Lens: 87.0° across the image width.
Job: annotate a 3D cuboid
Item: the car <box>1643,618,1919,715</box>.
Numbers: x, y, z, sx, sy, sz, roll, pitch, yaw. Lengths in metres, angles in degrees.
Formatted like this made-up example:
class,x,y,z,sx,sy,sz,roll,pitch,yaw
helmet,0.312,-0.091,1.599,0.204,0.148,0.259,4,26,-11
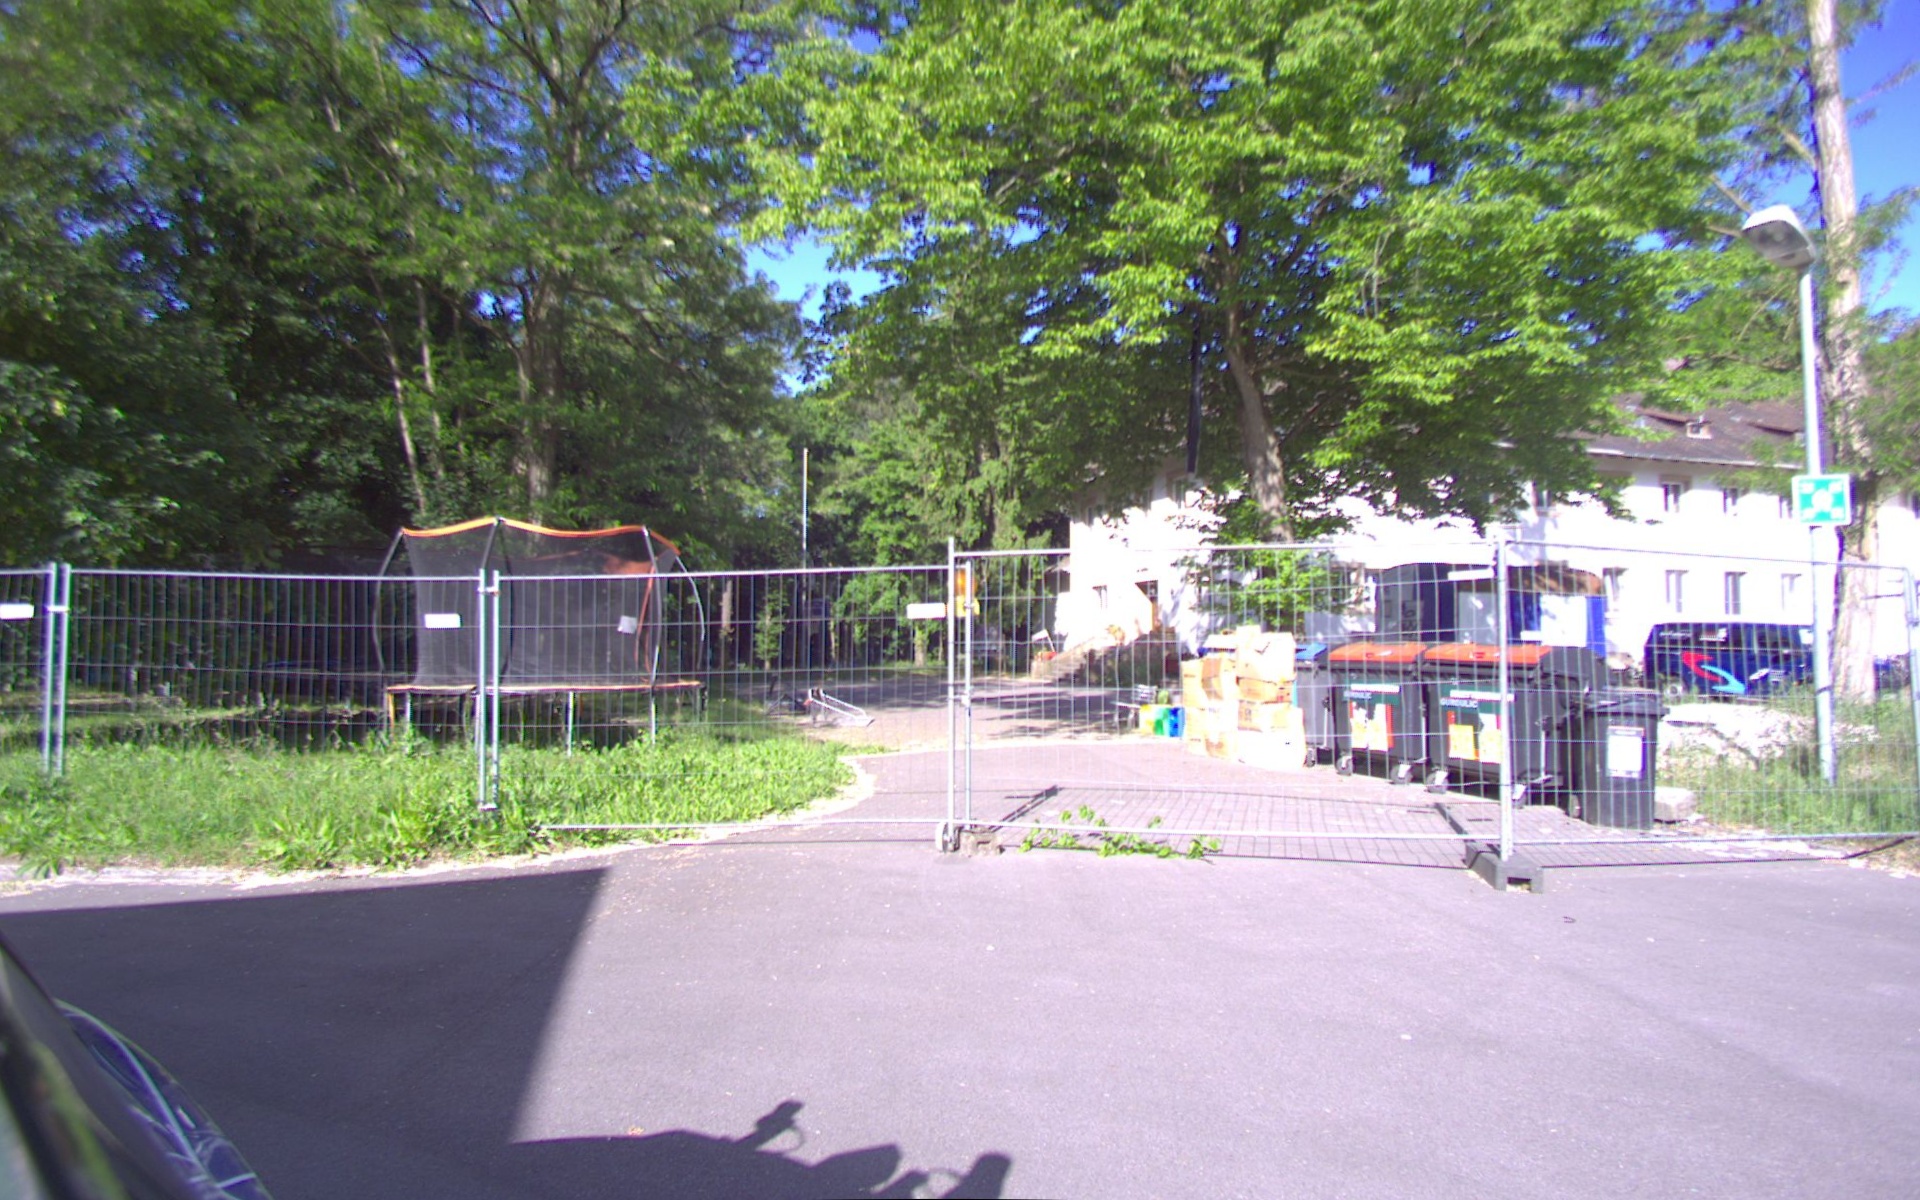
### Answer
class,x,y,z,sx,sy,sz,roll,pitch,yaw
car,18.325,1.431,22.628,1.965,1.917,4.740,1,-3,-21

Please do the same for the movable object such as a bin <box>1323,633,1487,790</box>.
class,x,y,z,sx,sy,sz,roll,pitch,yaw
movable object such as a bin,4.569,1.099,10.487,0.793,1.495,1.346,1,-3,-23

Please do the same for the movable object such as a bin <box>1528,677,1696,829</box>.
class,x,y,z,sx,sy,sz,roll,pitch,yaw
movable object such as a bin,5.182,1.186,8.075,0.805,1.106,0.740,0,-3,-13

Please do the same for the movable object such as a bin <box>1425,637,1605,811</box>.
class,x,y,z,sx,sy,sz,roll,pitch,yaw
movable object such as a bin,4.996,1.069,9.189,0.690,1.455,1.253,1,-3,-22

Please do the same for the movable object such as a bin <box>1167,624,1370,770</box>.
class,x,y,z,sx,sy,sz,roll,pitch,yaw
movable object such as a bin,3.695,1.118,12.402,1.154,1.603,2.303,1,-3,-22
